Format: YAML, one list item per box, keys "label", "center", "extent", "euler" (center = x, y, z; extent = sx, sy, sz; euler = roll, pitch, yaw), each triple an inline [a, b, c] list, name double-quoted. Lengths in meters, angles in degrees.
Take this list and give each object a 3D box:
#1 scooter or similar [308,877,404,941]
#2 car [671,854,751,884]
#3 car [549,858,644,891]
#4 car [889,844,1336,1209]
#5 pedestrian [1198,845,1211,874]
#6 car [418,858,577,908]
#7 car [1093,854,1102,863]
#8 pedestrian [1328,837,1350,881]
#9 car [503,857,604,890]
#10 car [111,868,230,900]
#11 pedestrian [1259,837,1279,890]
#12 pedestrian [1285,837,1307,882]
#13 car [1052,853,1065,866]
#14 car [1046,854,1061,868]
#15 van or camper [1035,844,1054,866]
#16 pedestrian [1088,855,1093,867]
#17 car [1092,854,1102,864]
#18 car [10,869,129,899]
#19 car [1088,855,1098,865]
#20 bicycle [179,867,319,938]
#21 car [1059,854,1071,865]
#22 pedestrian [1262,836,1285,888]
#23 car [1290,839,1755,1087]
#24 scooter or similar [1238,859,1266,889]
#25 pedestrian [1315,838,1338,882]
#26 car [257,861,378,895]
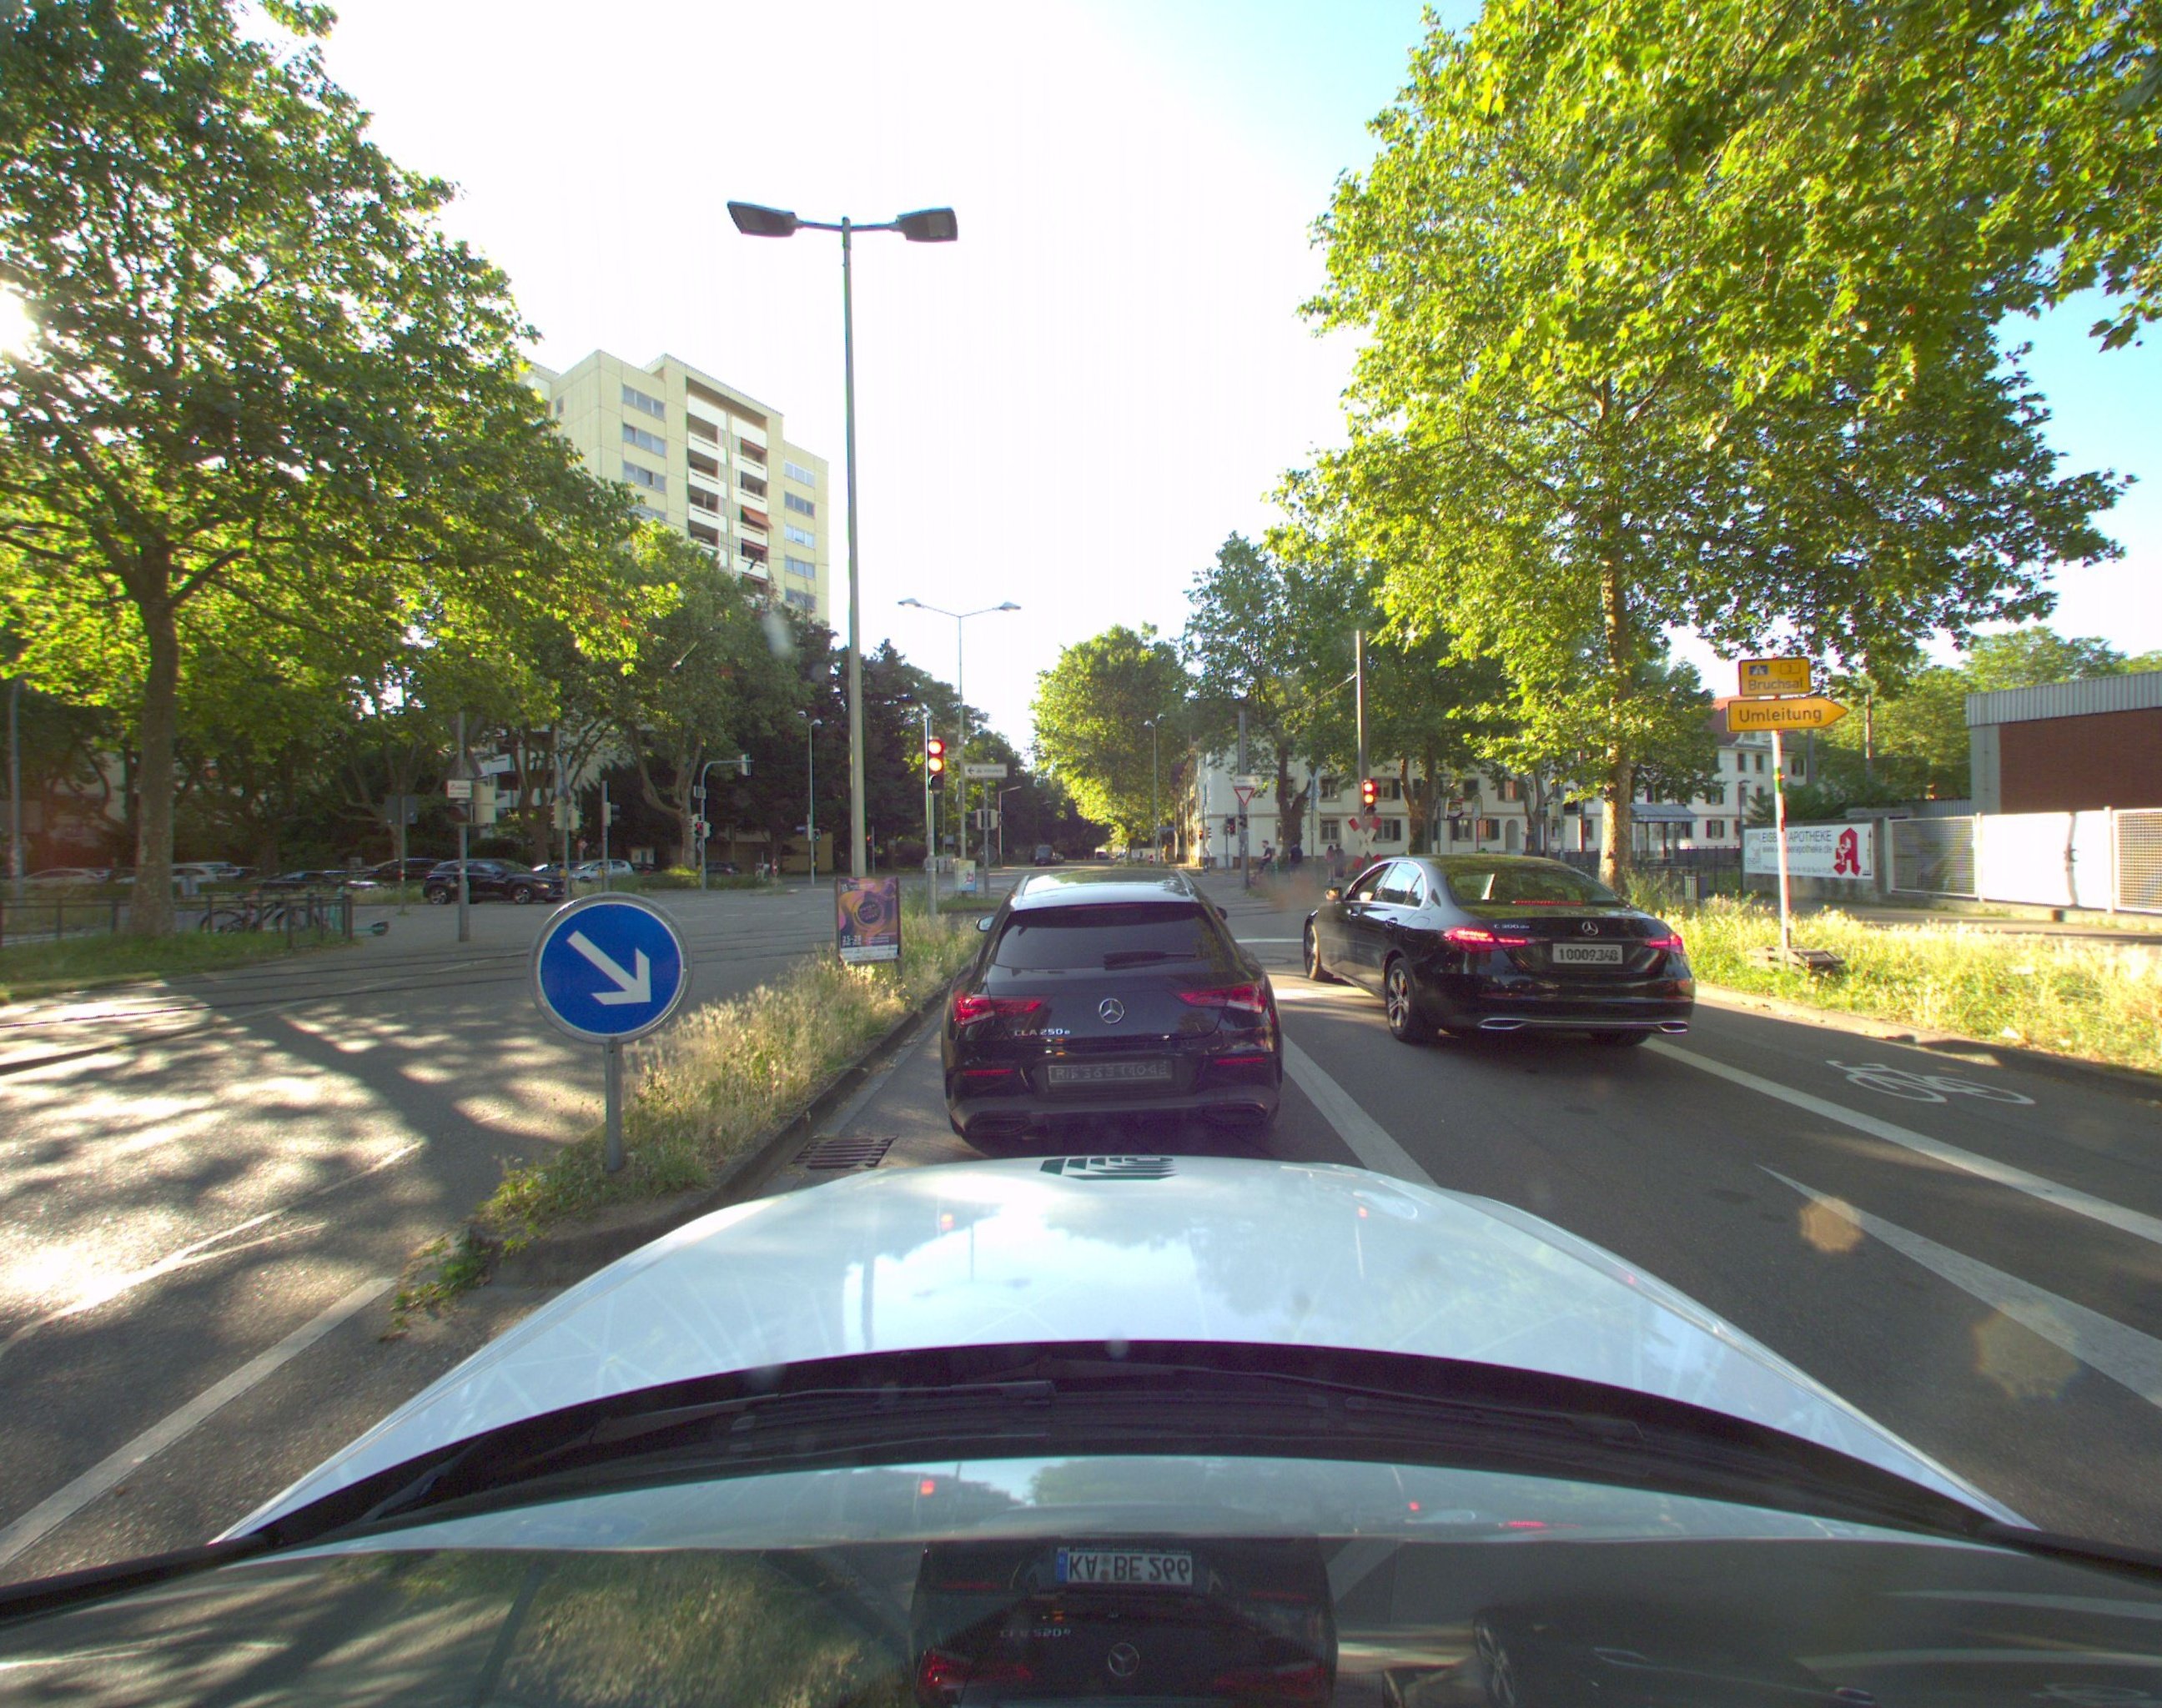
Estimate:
- label: "scooter or similar"
  center: [-15.094, 1.114, 16.980]
  extent: [0.408, 1.239, 1.450]
  euler: [-1, -1, 40]
- label: "car"
  center: [-22.641, 0.902, 49.921]
  extent: [3.963, 1.774, 2.005]
  euler: [0, -1, 9]
- label: "car"
  center: [-24.926, 1.015, 42.025]
  extent: [1.716, 1.596, 3.831]
  euler: [-1, -1, 32]
- label: "car"
  center: [0.242, 0.708, 5.453]
  extent: [1.881, 1.450, 4.004]
  euler: [0, 2, 3]
- label: "pedestrian"
  center: [8.212, 0.387, 53.963]
  extent: [0.703, 1.918, 0.838]
  euler: [0, -1, -2]
- label: "car"
  center: [-19.436, 0.936, 27.280]
  extent: [3.981, 1.596, 1.735]
  euler: [0, -1, -5]
- label: "car"
  center: [3.239, 0.906, 158.623]
  extent: [1.727, 1.765, 4.020]
  euler: [0, -1, 2]
- label: "pedestrian"
  center: [11.571, 0.230, 36.538]
  extent: [0.703, 1.918, 0.838]
  euler: [0, -1, -2]
- label: "car"
  center: [-27.221, 0.971, 42.159]
  extent: [1.716, 1.596, 4.025]
  euler: [-1, -1, 32]
- label: "car"
  center: [-49.162, 1.581, 44.068]
  extent: [1.716, 1.596, 4.025]
  euler: [-1, -1, 32]
- label: "pedestrian"
  center: [6.884, 0.344, 29.789]
  extent: [0.677, 1.918, 0.710]
  euler: [-1, -1, 16]
- label: "pedestrian"
  center: [9.288, 0.251, 35.236]
  extent: [0.703, 1.918, 0.838]
  euler: [0, -1, -2]
- label: "car"
  center: [-3.254, 0.764, 117.828]
  extent: [1.727, 1.765, 4.087]
  euler: [0, -1, 2]
- label: "car"
  center: [-3.666, 0.953, 110.044]
  extent: [1.727, 1.765, 4.343]
  euler: [0, -1, 2]
- label: "van or camper"
  center: [-4.423, 0.131, 100.049]
  extent: [1.986, 2.541, 4.653]
  euler: [0, -1, 2]
- label: "pedestrian"
  center: [1.532, 1.055, 130.199]
  extent: [0.704, 1.918, 0.837]
  euler: [0, -1, -8]
- label: "car"
  center: [2.909, 0.984, 150.540]
  extent: [1.727, 1.765, 4.020]
  euler: [0, -1, 2]
- label: "car"
  center: [-57.103, 1.658, 46.071]
  extent: [1.716, 1.596, 4.025]
  euler: [-1, -1, 32]
- label: "car"
  center: [2.097, 1.012, 145.735]
  extent: [1.727, 1.765, 4.020]
  euler: [0, -1, 2]
- label: "bicycle"
  center: [-15.954, 0.909, 15.668]
  extent: [1.845, 1.307, 0.380]
  euler: [0, -1, -26]
- label: "car"
  center: [-2.477, 0.830, 126.675]
  extent: [1.727, 1.765, 3.972]
  euler: [0, -1, 2]
- label: "pedestrian"
  center: [7.286, 0.297, 30.858]
  extent: [0.681, 1.918, 0.707]
  euler: [0, -1, -2]
- label: "car"
  center: [3.334, 0.650, 7.317]
  extent: [1.883, 1.490, 4.383]
  euler: [0, 2, 1]
- label: "scooter or similar"
  center: [6.414, 0.736, 30.581]
  extent: [0.826, 1.104, 0.808]
  euler: [0, -1, -4]
- label: "pedestrian"
  center: [10.721, 0.259, 35.558]
  extent: [0.703, 1.918, 0.838]
  euler: [0, -1, -2]
- label: "car"
  center: [-37.416, 1.140, 39.996]
  extent: [1.716, 1.596, 4.025]
  euler: [-1, -1, 32]
